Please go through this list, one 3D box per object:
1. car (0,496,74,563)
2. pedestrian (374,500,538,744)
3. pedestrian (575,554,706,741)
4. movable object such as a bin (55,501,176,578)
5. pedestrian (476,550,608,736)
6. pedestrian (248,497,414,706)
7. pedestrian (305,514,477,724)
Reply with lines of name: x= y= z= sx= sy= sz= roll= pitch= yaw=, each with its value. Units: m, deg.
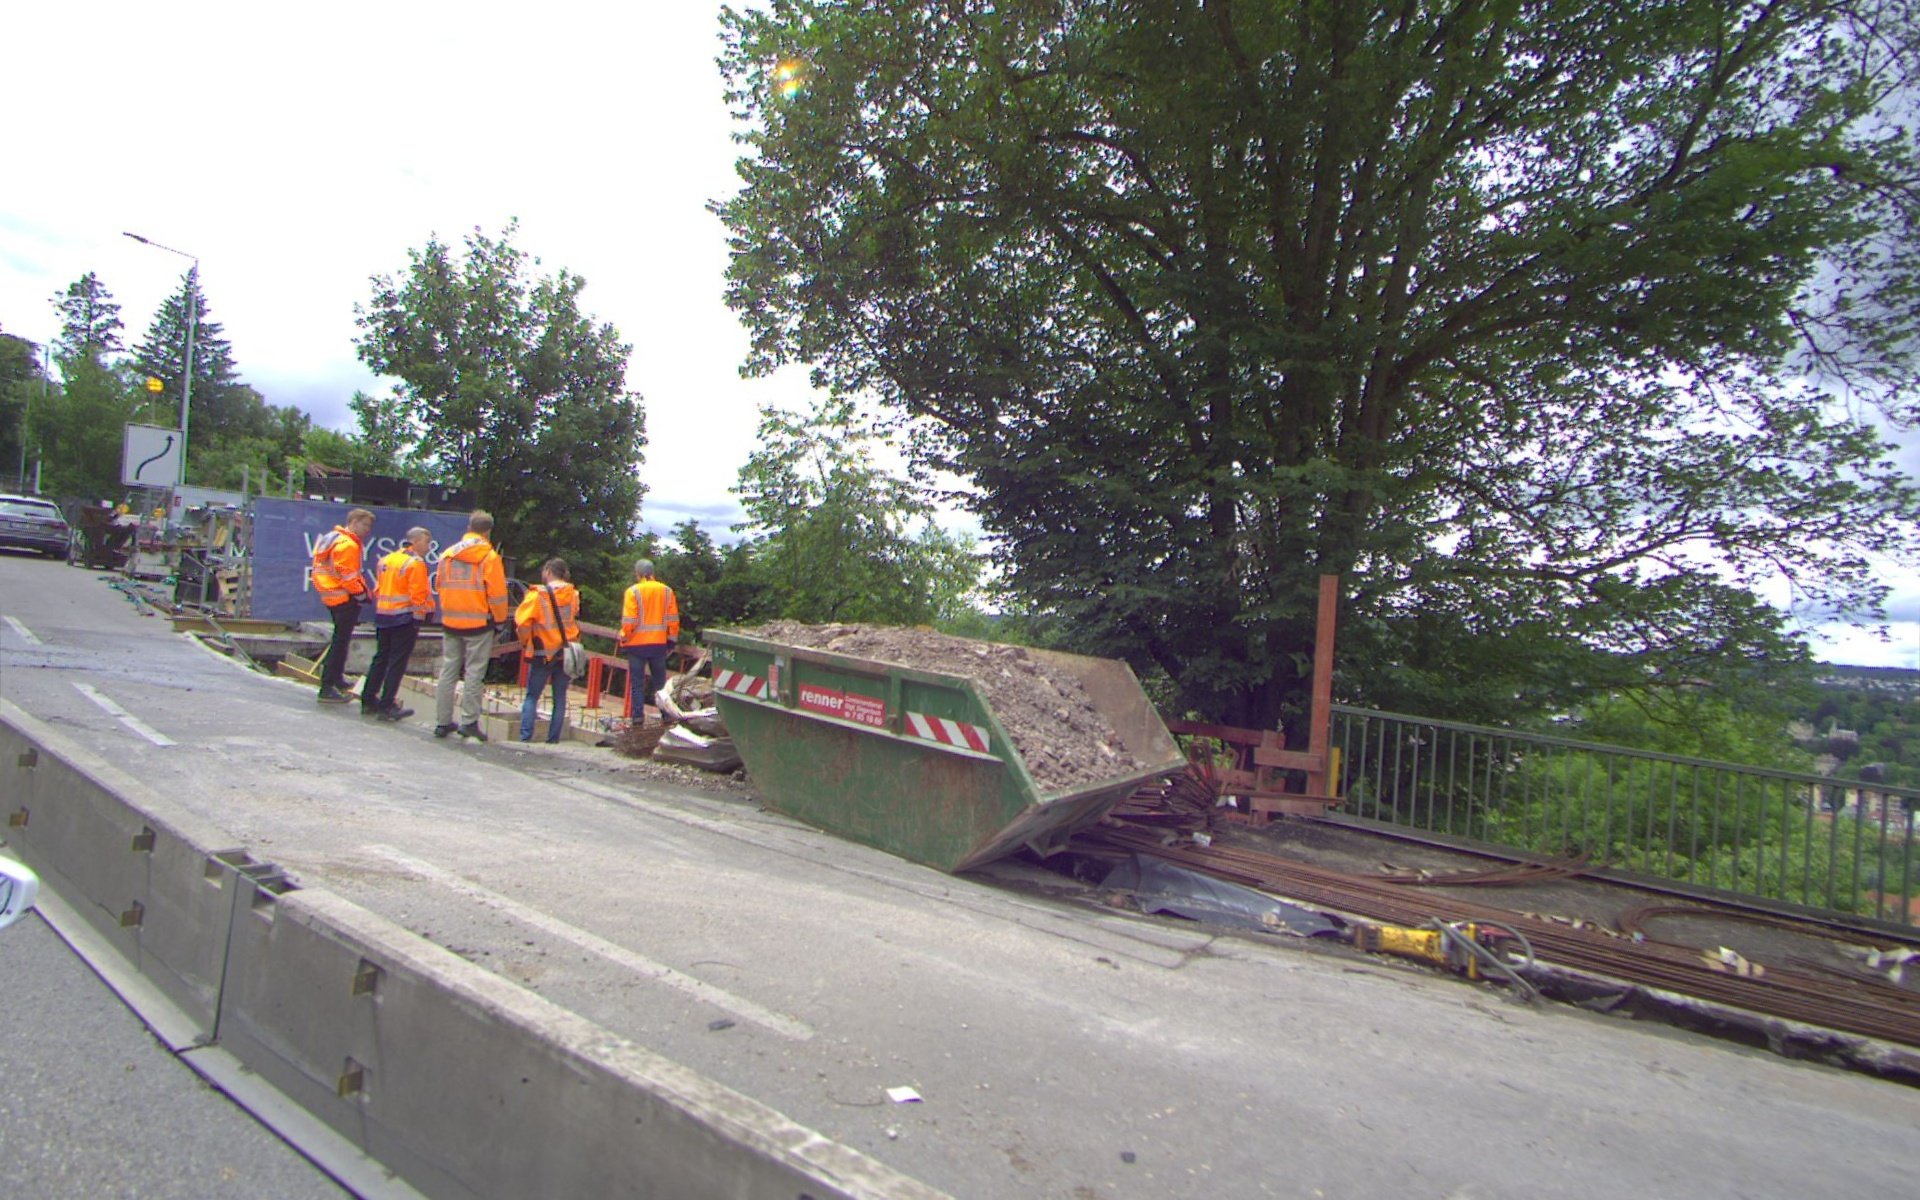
car: x=-23.270 y=-1.811 z=24.744 sx=3.947 sy=1.384 sz=1.791 roll=6 pitch=-1 yaw=43
pedestrian: x=-4.307 y=0.186 z=8.634 sx=0.810 sy=1.930 sz=0.693 roll=7 pitch=0 yaw=17
pedestrian: x=-3.138 y=0.465 z=9.878 sx=0.775 sy=1.708 sz=0.781 roll=7 pitch=0 yaw=45
movable object such as a bin: x=-19.524 y=-1.386 z=23.264 sx=1.873 sy=1.442 sz=1.398 roll=7 pitch=-1 yaw=26
pedestrian: x=-3.913 y=0.404 z=9.424 sx=0.658 sy=1.627 sz=0.780 roll=7 pitch=0 yaw=45
pedestrian: x=-6.026 y=0.028 z=9.659 sx=0.863 sy=1.844 sz=0.877 roll=7 pitch=0 yaw=29
pedestrian: x=-5.179 y=0.182 z=9.180 sx=0.863 sy=1.752 sz=0.877 roll=7 pitch=0 yaw=29
